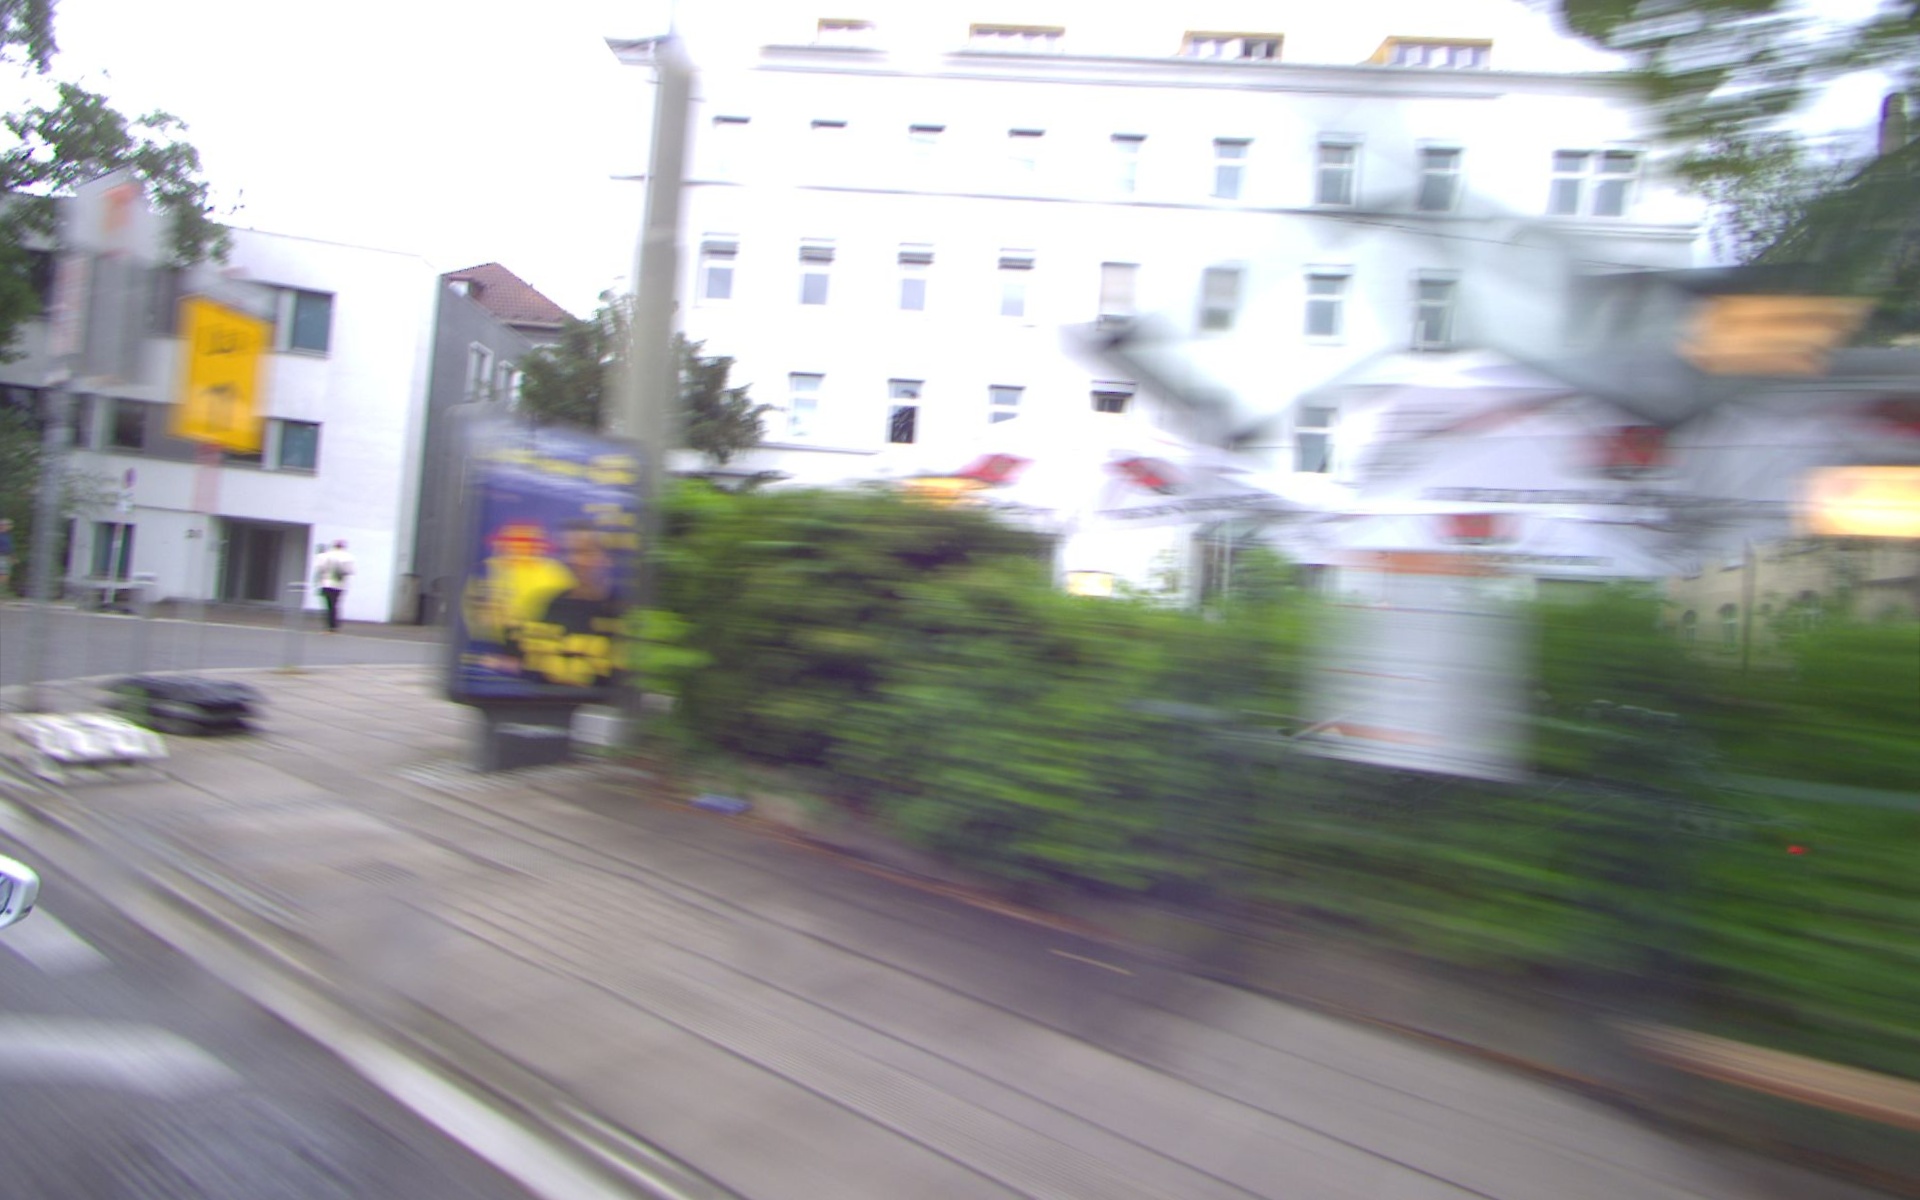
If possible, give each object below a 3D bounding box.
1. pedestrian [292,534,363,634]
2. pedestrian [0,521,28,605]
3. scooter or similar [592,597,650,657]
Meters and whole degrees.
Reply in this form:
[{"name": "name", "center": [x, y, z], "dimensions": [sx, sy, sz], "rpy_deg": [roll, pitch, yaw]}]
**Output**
[{"name": "pedestrian", "center": [-11.541, -0.272, 18.377], "dimensions": [0.661, 1.720, 0.745], "rpy_deg": [7, -1, -6]}, {"name": "pedestrian", "center": [-19.717, -0.780, 20.534], "dimensions": [0.591, 1.648, 0.546], "rpy_deg": [9, -1, -1]}, {"name": "scooter or similar", "center": [-7.834, 0.633, 23.258], "dimensions": [1.081, 1.305, 0.465], "rpy_deg": [3, -2, 9]}]
